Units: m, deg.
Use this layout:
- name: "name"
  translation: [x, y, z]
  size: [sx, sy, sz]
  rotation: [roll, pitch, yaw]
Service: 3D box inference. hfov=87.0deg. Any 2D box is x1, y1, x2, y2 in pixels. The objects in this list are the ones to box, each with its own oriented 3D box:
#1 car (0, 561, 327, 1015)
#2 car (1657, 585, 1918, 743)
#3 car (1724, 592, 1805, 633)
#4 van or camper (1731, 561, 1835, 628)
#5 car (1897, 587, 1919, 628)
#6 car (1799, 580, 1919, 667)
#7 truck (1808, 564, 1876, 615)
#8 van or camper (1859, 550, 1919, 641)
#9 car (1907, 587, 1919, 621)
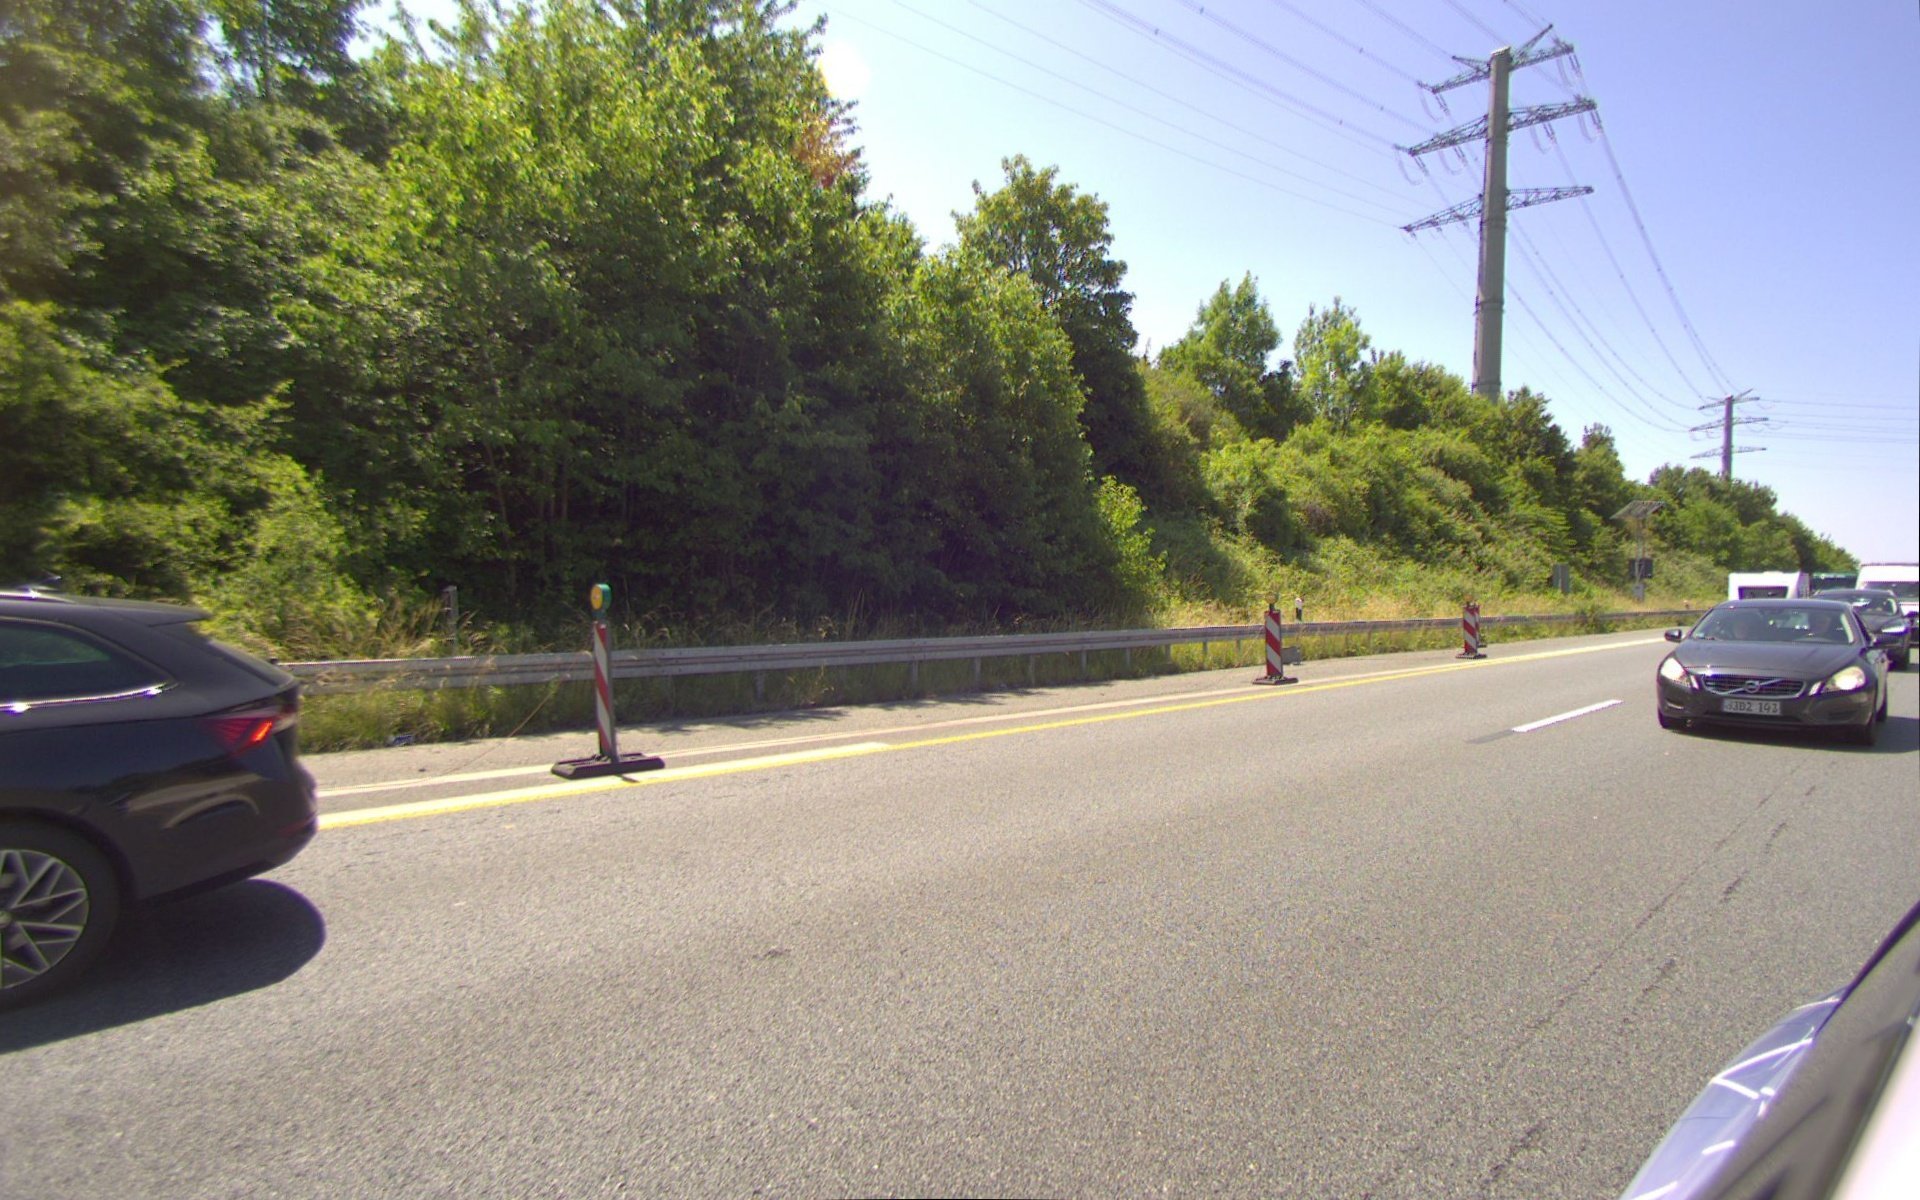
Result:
- name: "car"
  translation: [-4.700, 0.632, 3.145]
  size: [4.390, 1.507, 1.780]
  rotation: [-1, 0, -44]
- name: "car"
  translation: [9.402, 0.578, 11.387]
  size: [3.933, 1.459, 1.796]
  rotation: [0, 1, -43]
- name: "car"
  translation: [30.574, 0.435, 38.416]
  size: [4.139, 1.425, 1.798]
  rotation: [0, 3, -44]
- name: "van or camper"
  translation: [34.971, -0.243, 42.877]
  size: [8.277, 2.597, 2.428]
  rotation: [0, 1, -44]
- name: "car"
  translation: [41.364, 0.319, 43.275]
  size: [4.089, 1.689, 1.741]
  rotation: [0, 1, -45]
- name: "car"
  translation: [19.511, 0.433, 21.708]
  size: [4.085, 1.689, 1.743]
  rotation: [0, 1, -42]
- name: "truck"
  translation: [58.757, -0.670, 67.376]
  size: [7.515, 3.181, 2.428]
  rotation: [0, -1, -42]
- name: "van or camper"
  translation: [29.967, -0.142, 31.753]
  size: [5.533, 2.652, 1.997]
  rotation: [0, 2, -42]
- name: "car"
  translation: [49.811, 0.216, 51.837]
  size: [4.089, 1.689, 1.741]
  rotation: [0, 1, -45]
